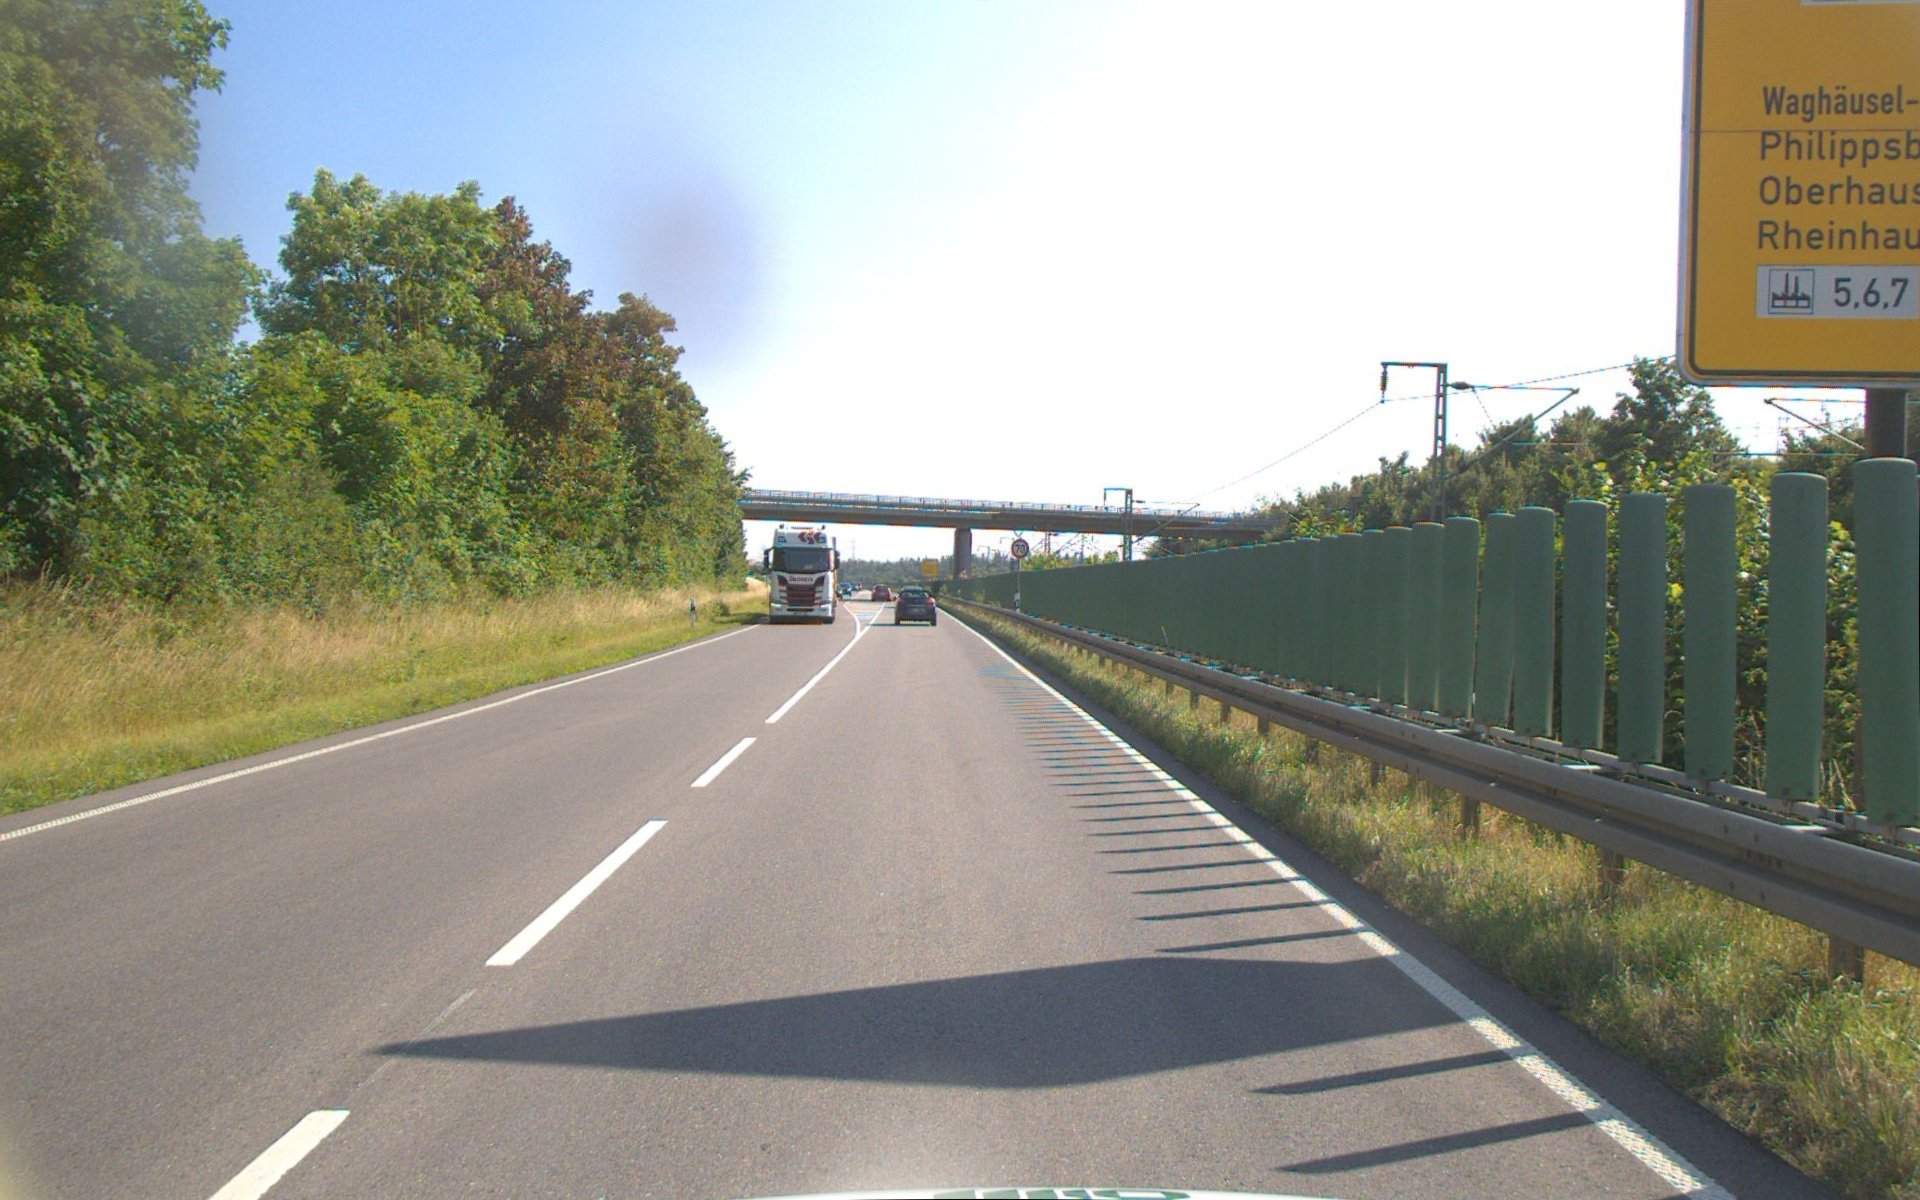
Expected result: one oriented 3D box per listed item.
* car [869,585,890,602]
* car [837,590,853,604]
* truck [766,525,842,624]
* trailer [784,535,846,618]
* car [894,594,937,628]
[{"bbox_3d":[-7.142,-0.542,147.157,1.857,1.443,3.998,1,0,-2],"label":"car"},{"bbox_3d":[-14.763,-0.390,211.858,1.885,1.620,4.425,0,0,-5],"label":"car"},{"bbox_3d":[-6.328,-1.006,68.341,2.508,3.753,10.482,1,0,-2],"label":"truck"},{"bbox_3d":[-6.739,-1.085,77.709,2.508,3.658,8.288,1,0,-2],"label":"trailer"},{"bbox_3d":[-1.764,0.407,64.438,1.630,1.283,3.998,1,0,-2],"label":"car"}]
